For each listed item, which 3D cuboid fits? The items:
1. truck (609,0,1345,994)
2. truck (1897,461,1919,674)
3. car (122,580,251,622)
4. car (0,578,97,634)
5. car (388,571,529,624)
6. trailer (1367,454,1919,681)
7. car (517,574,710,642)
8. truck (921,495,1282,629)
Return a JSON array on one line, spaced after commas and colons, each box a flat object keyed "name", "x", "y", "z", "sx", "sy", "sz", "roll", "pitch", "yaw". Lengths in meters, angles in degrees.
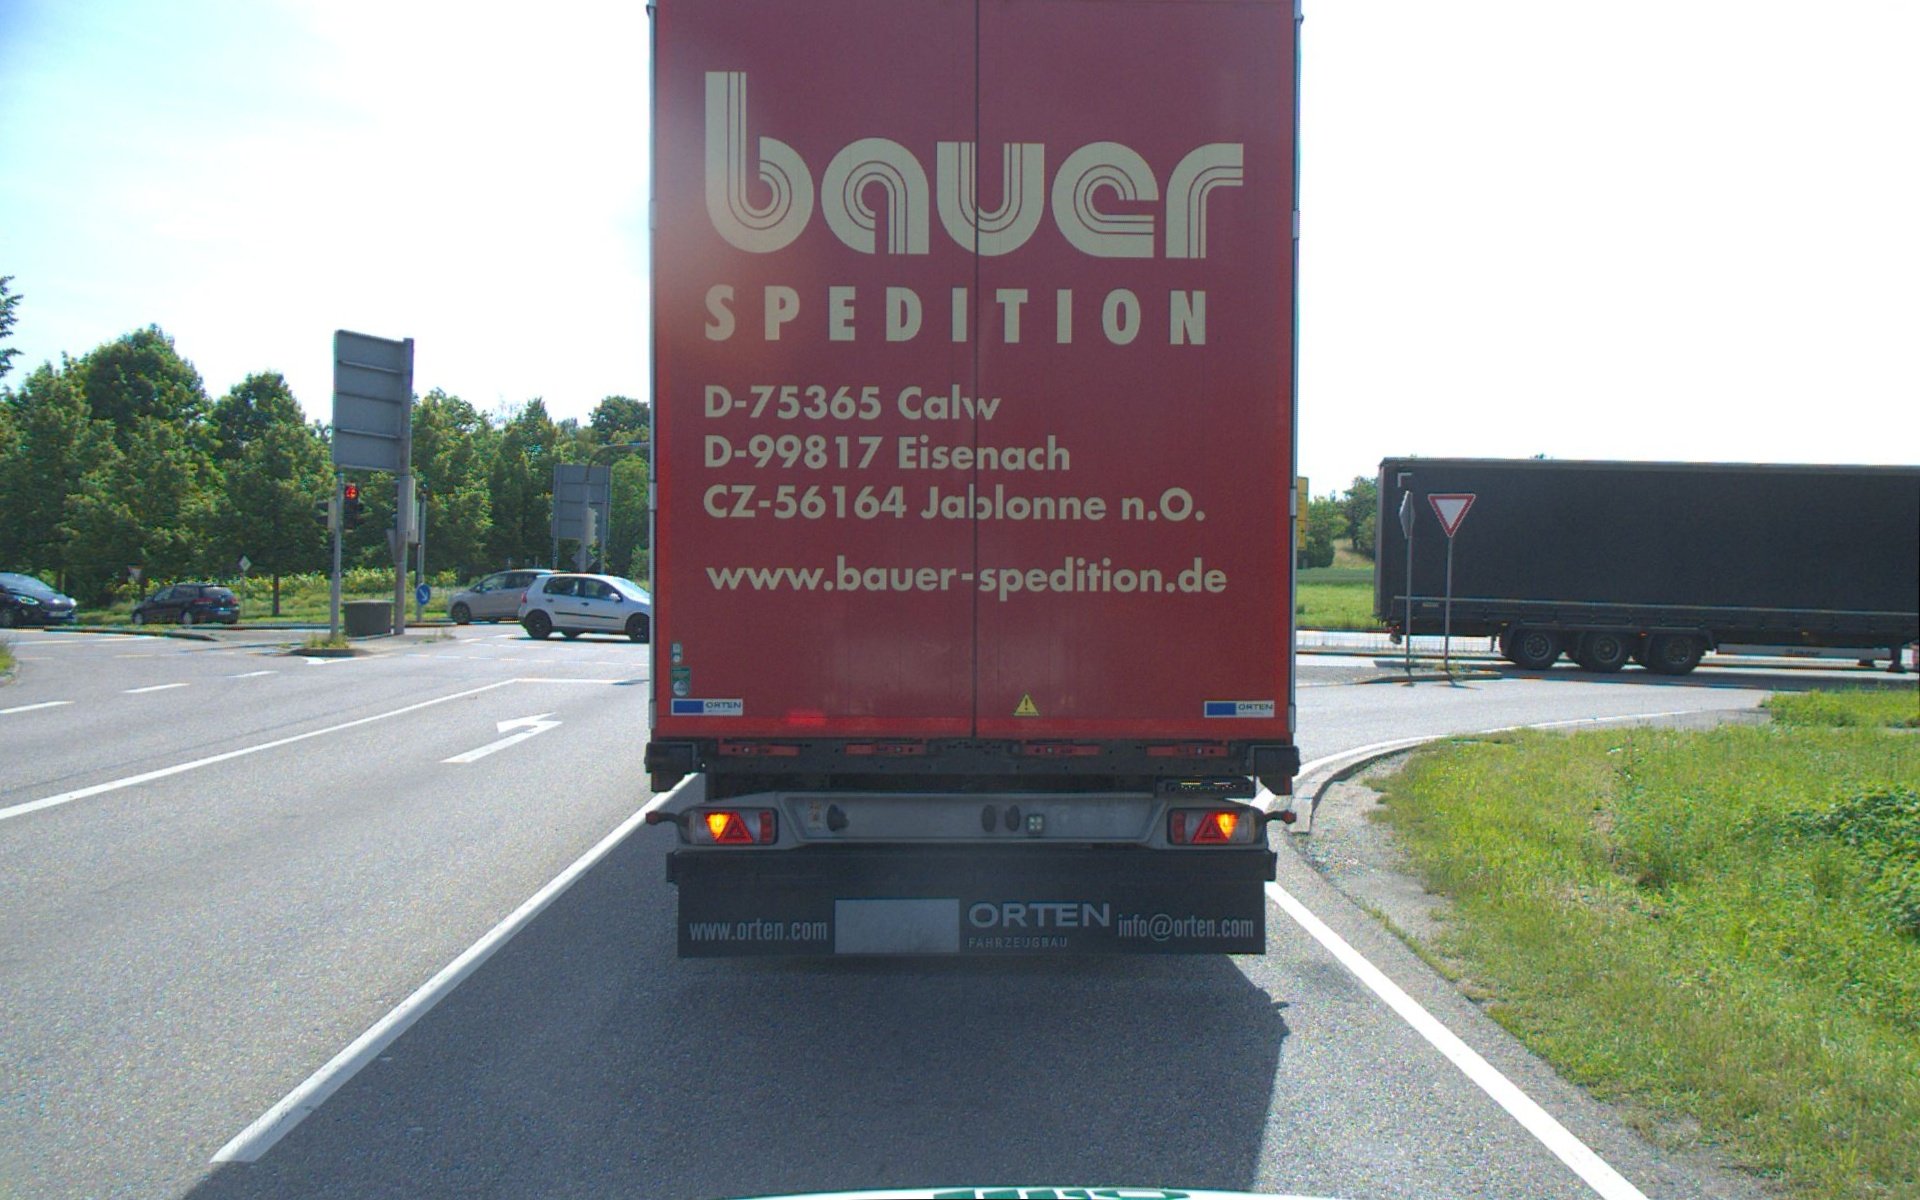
[{"name": "truck", "x": -0.084, "y": -0.638, "z": 14.423, "sx": 2.679, "sy": 3.993, "sz": 16.622, "roll": 1, "pitch": 1, "yaw": -1}, {"name": "truck", "x": 21.393, "y": -0.569, "z": 31.251, "sx": 5.701, "sy": 4.132, "sz": 2.801, "roll": 1, "pitch": 1, "yaw": 8}, {"name": "car", "x": -26.034, "y": 0.031, "z": 55.667, "sx": 4.184, "sy": 1.328, "sz": 1.740, "roll": 1, "pitch": 0, "yaw": 27}, {"name": "car", "x": -24.846, "y": 0.129, "z": 43.297, "sx": 4.181, "sy": 1.328, "sz": 1.741, "roll": 1, "pitch": 2, "yaw": 23}, {"name": "car", "x": -15.171, "y": -0.076, "z": 50.060, "sx": 3.911, "sy": 1.517, "sz": 1.538, "roll": 1, "pitch": -1, "yaw": 18}, {"name": "trailer", "x": 14.989, "y": -0.670, "z": 32.425, "sx": 13.392, "sy": 4.132, "sz": 2.801, "roll": 1, "pitch": 1, "yaw": 10}, {"name": "car", "x": -7.934, "y": 0.155, "z": 37.945, "sx": 3.949, "sy": 1.441, "sz": 1.796, "roll": 1, "pitch": 1, "yaw": 15}, {"name": "truck", "x": 4.345, "y": -1.348, "z": 56.243, "sx": 3.001, "sy": 4.049, "sz": 14.115, "roll": 0, "pitch": 1, "yaw": -41}]
